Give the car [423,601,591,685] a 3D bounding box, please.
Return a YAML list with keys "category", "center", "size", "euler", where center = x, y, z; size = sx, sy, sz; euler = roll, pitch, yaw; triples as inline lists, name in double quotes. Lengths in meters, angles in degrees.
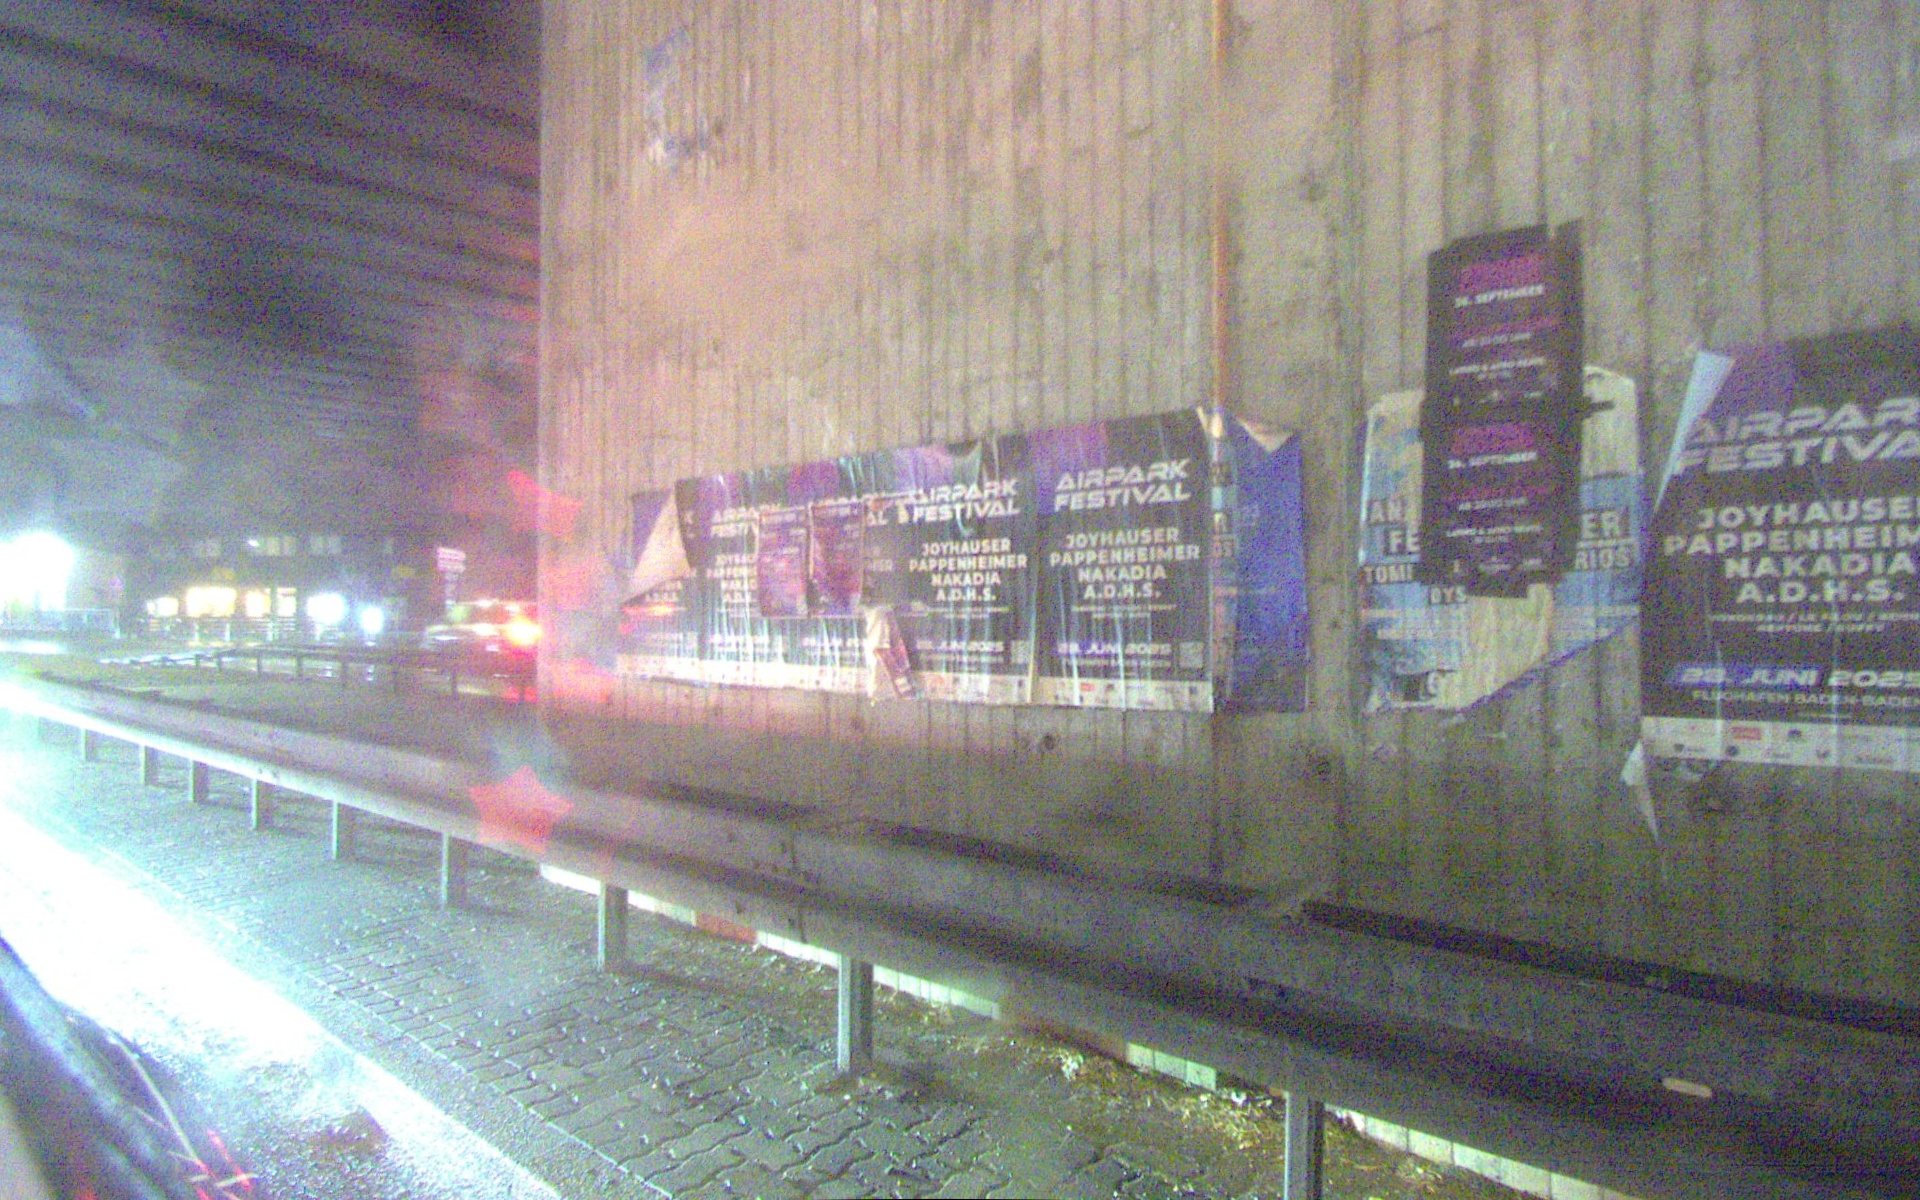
- category: "car"
  center: [-11.493, 1.017, 25.592]
  size: [4.348, 1.937, 1.976]
  euler: [-1, 0, 36]
